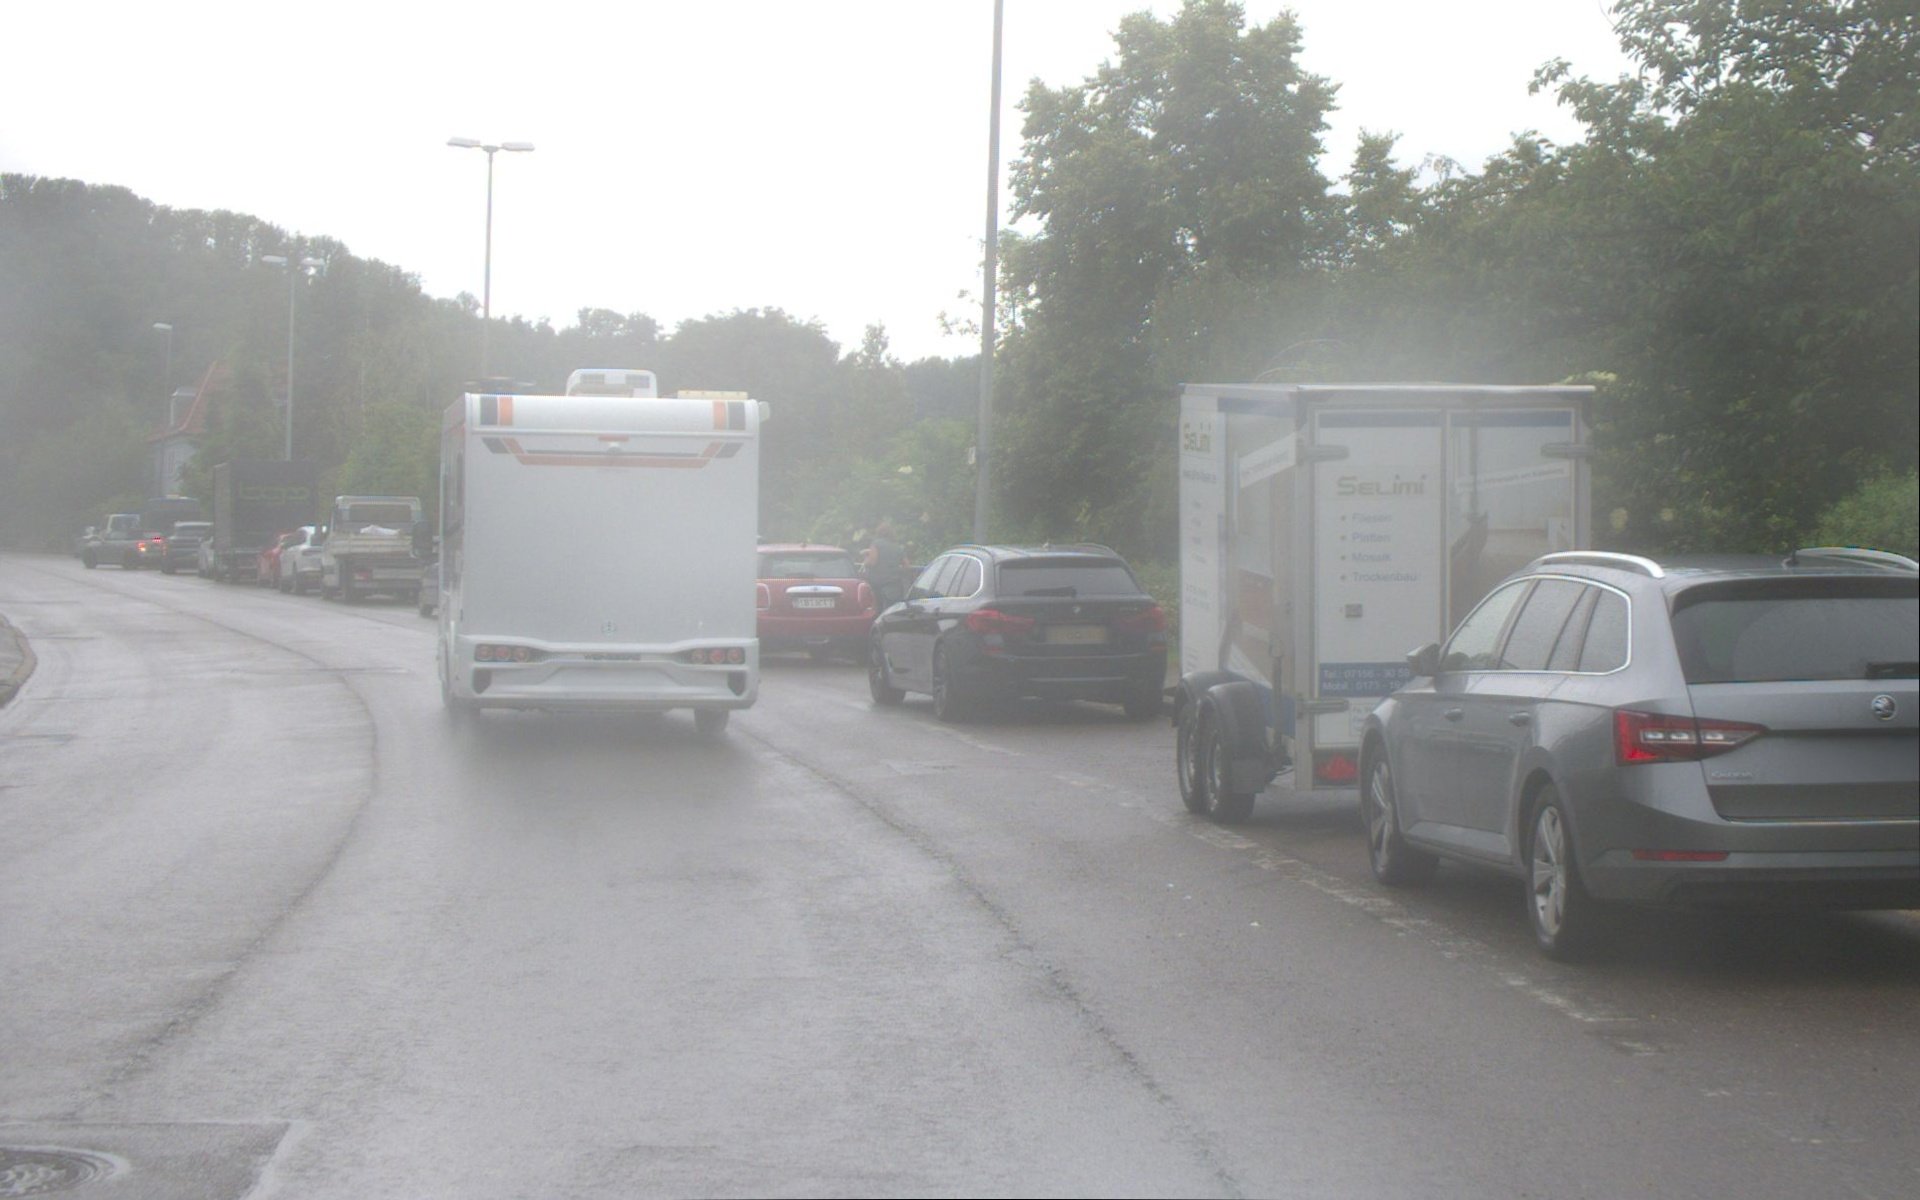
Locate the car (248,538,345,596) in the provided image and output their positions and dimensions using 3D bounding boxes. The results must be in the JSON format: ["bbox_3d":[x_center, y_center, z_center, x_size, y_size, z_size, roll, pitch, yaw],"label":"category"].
[{"bbox_3d":[-17.312,-0.870,89.541,1.831,1.433,4.988,0,1,-18],"label":"car"}]

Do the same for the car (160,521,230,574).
[{"bbox_3d":[-24.910,-1.706,111.839,1.936,1.666,4.696,0,1,-16],"label":"car"}]

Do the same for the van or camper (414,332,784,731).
[{"bbox_3d":[-3.088,-0.458,28.428,2.615,2.843,6.032,2,-1,-8],"label":"van or camper"}]

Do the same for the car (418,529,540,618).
[{"bbox_3d":[-8.837,-0.492,62.883,1.647,1.558,3.964,0,1,-16],"label":"car"}]

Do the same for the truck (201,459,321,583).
[{"bbox_3d":[-19.669,-2.173,96.498,2.435,3.324,7.967,0,1,-18],"label":"truck"}]

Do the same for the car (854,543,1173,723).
[{"bbox_3d":[0.371,0.235,30.374,1.792,1.454,4.790,0,1,-12],"label":"car"}]

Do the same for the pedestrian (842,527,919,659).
[{"bbox_3d":[-1.001,-0.090,43.180,0.705,1.629,0.719,1,1,-26],"label":"pedestrian"}]

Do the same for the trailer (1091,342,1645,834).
[{"bbox_3d":[2.153,-0.085,19.912,1.948,2.448,5.435,1,1,-7],"label":"trailer"}]

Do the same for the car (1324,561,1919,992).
[{"bbox_3d":[2.778,0.563,13.756,1.747,1.419,4.705,1,1,-5],"label":"car"}]

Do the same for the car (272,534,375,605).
[{"bbox_3d":[-15.062,-0.730,81.200,1.759,1.599,4.668,0,1,-18],"label":"car"}]

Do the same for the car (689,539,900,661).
[{"bbox_3d":[-2.054,-0.023,41.652,1.735,1.409,3.853,0,1,-15],"label":"car"}]

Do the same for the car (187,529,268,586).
[{"bbox_3d":[-22.305,-1.303,104.565,1.845,1.678,5.640,0,1,-18],"label":"car"}]

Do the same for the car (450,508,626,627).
[{"bbox_3d":[-7.079,-0.547,57.235,1.848,1.875,4.912,0,1,-20],"label":"car"}]

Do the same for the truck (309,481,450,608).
[{"bbox_3d":[-12.712,-1.195,74.985,2.238,2.622,6.540,0,1,-16],"label":"truck"}]
